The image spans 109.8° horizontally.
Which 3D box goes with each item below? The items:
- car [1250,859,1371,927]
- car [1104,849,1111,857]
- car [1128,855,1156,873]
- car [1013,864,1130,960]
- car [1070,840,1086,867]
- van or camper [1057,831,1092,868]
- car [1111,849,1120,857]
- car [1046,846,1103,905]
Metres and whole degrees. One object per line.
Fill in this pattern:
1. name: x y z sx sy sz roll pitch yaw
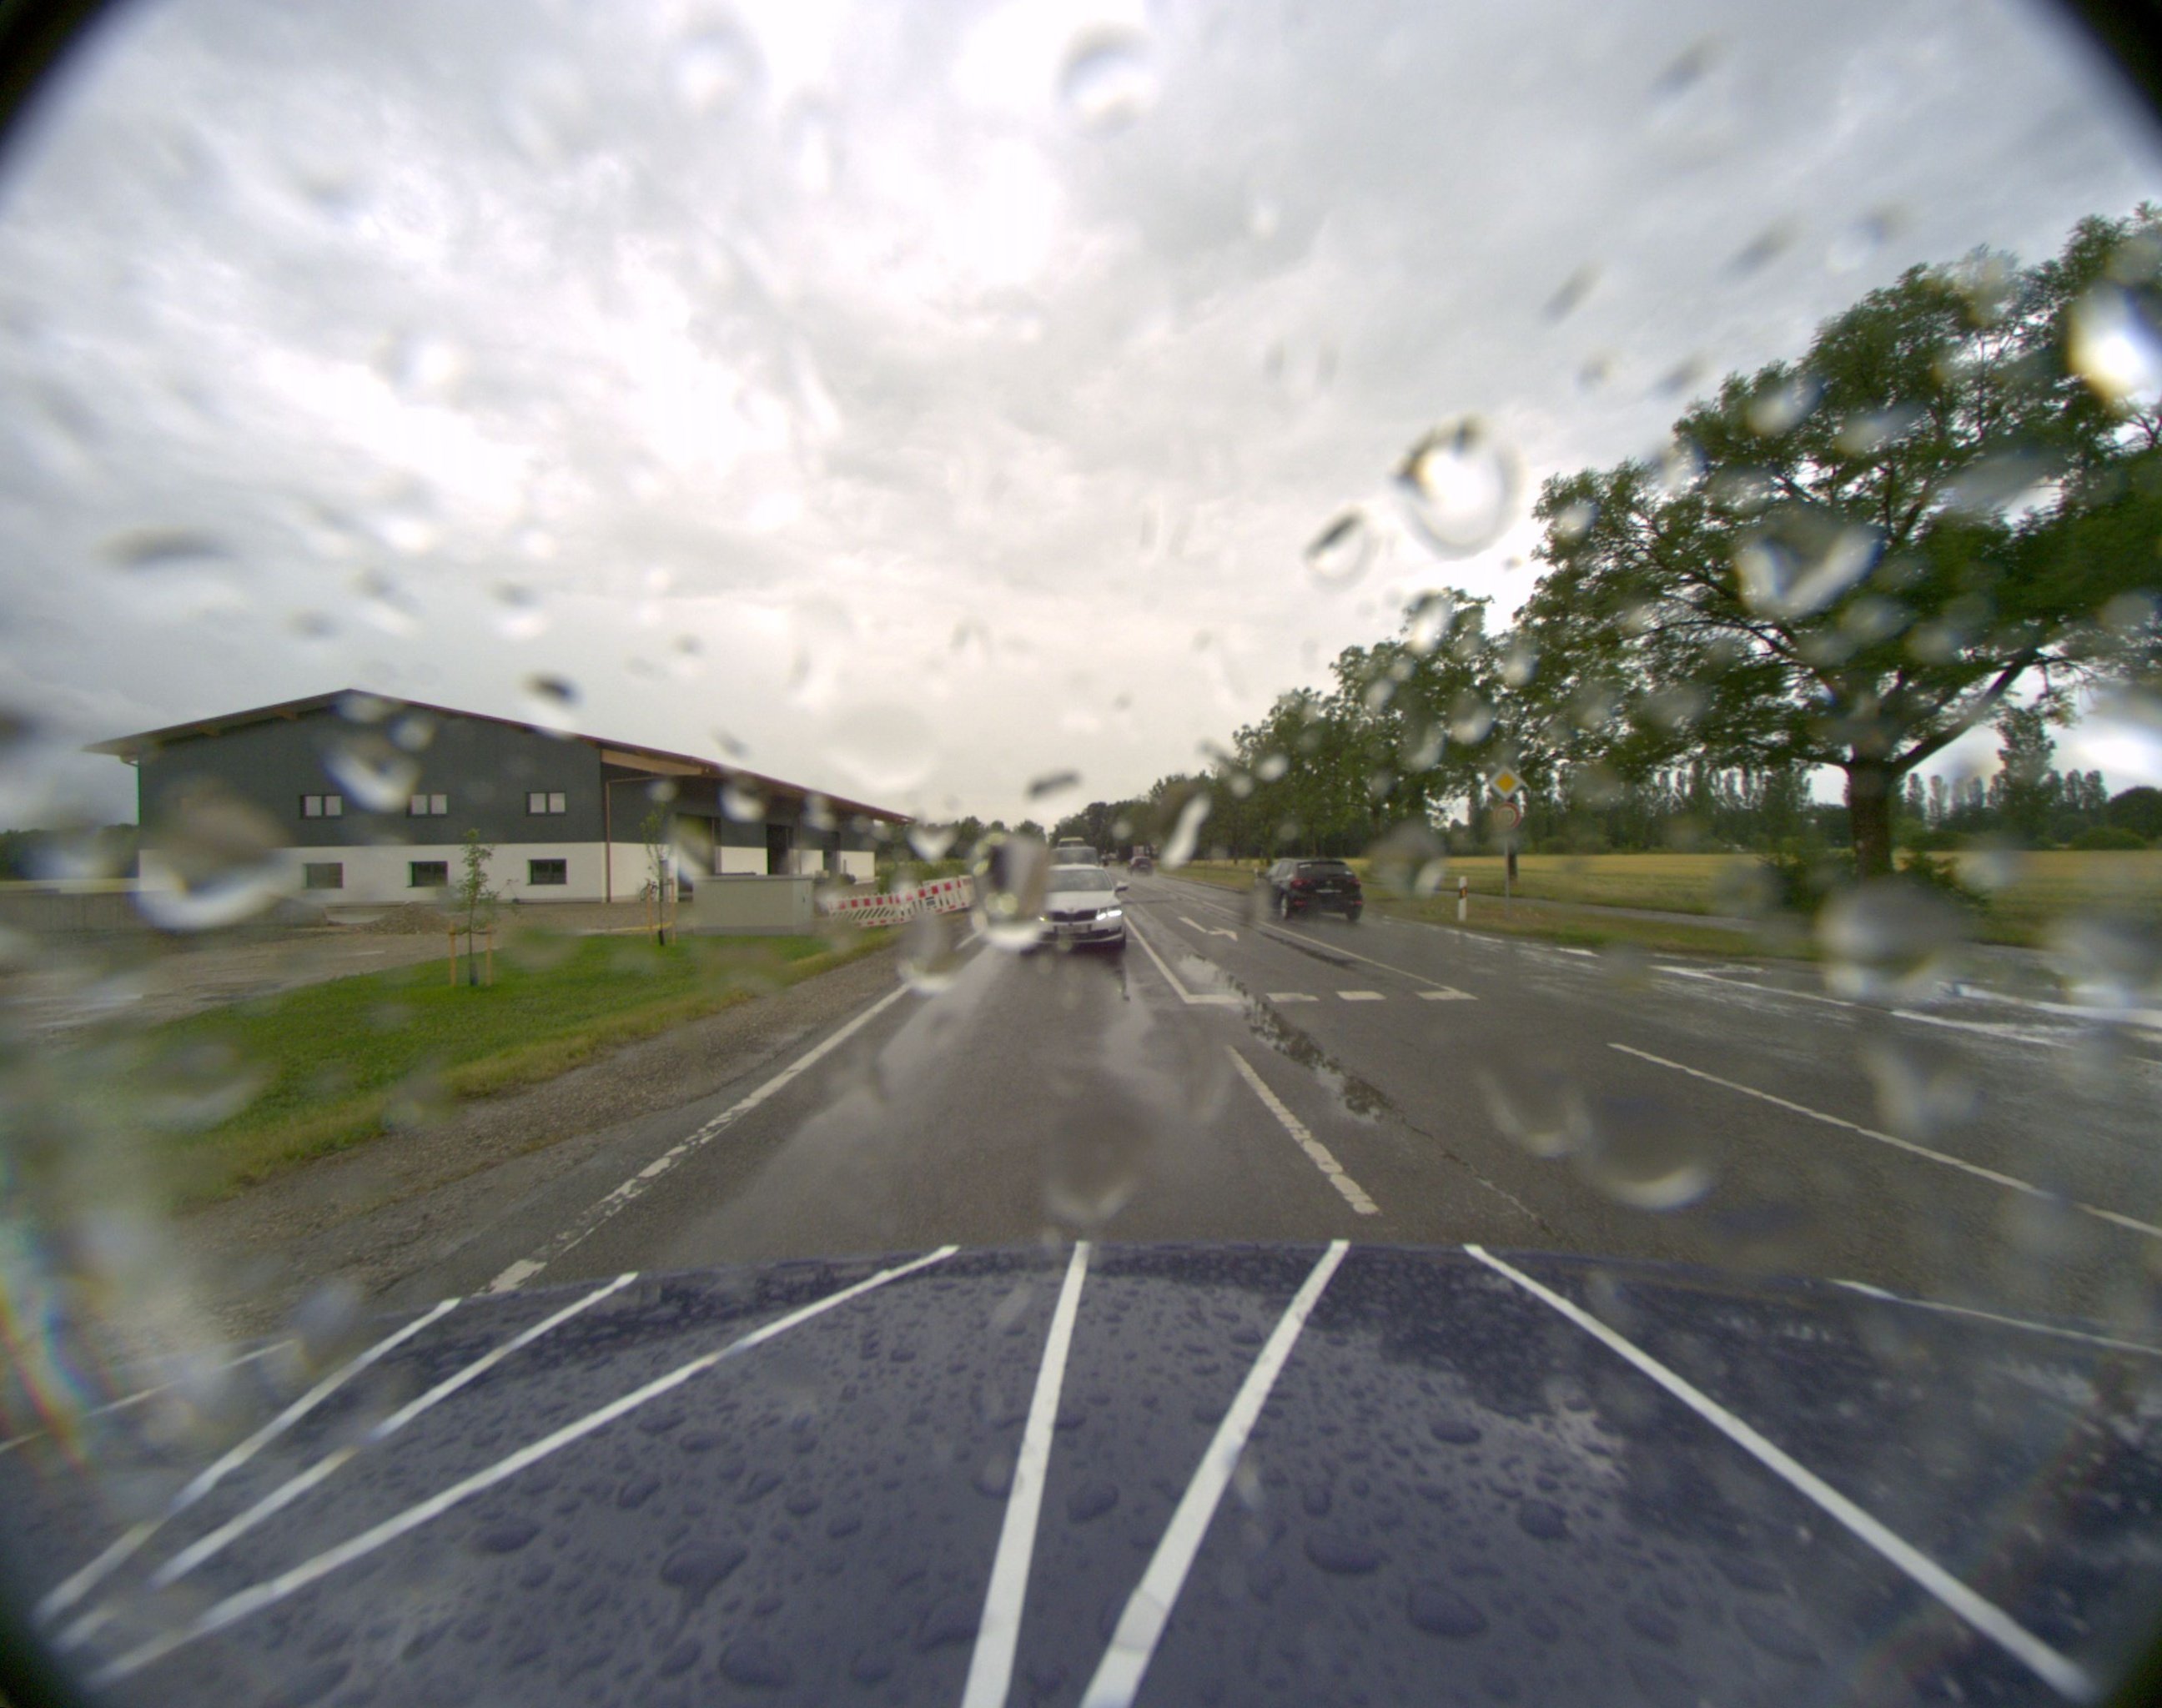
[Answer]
1. car: 5.334 0.850 18.170 1.716 1.397 3.813 0 0 0
2. car: 7.118 -0.266 205.031 1.998 2.002 4.000 -1 0 1
3. car: 4.909 0.803 61.649 1.770 1.429 4.412 0 0 -1
4. car: -0.155 0.919 13.936 1.770 1.365 4.575 -1 0 0
5. car: -0.382 -0.067 91.277 1.771 3.134 4.027 -1 0 -1
6. van or camper: -0.676 -0.443 79.421 3.342 3.624 8.372 -1 0 0
7. car: 9.625 -0.340 211.954 1.999 2.002 3.997 -1 1 -5
8. car: -0.218 0.695 26.974 1.841 1.888 4.575 -1 0 0
